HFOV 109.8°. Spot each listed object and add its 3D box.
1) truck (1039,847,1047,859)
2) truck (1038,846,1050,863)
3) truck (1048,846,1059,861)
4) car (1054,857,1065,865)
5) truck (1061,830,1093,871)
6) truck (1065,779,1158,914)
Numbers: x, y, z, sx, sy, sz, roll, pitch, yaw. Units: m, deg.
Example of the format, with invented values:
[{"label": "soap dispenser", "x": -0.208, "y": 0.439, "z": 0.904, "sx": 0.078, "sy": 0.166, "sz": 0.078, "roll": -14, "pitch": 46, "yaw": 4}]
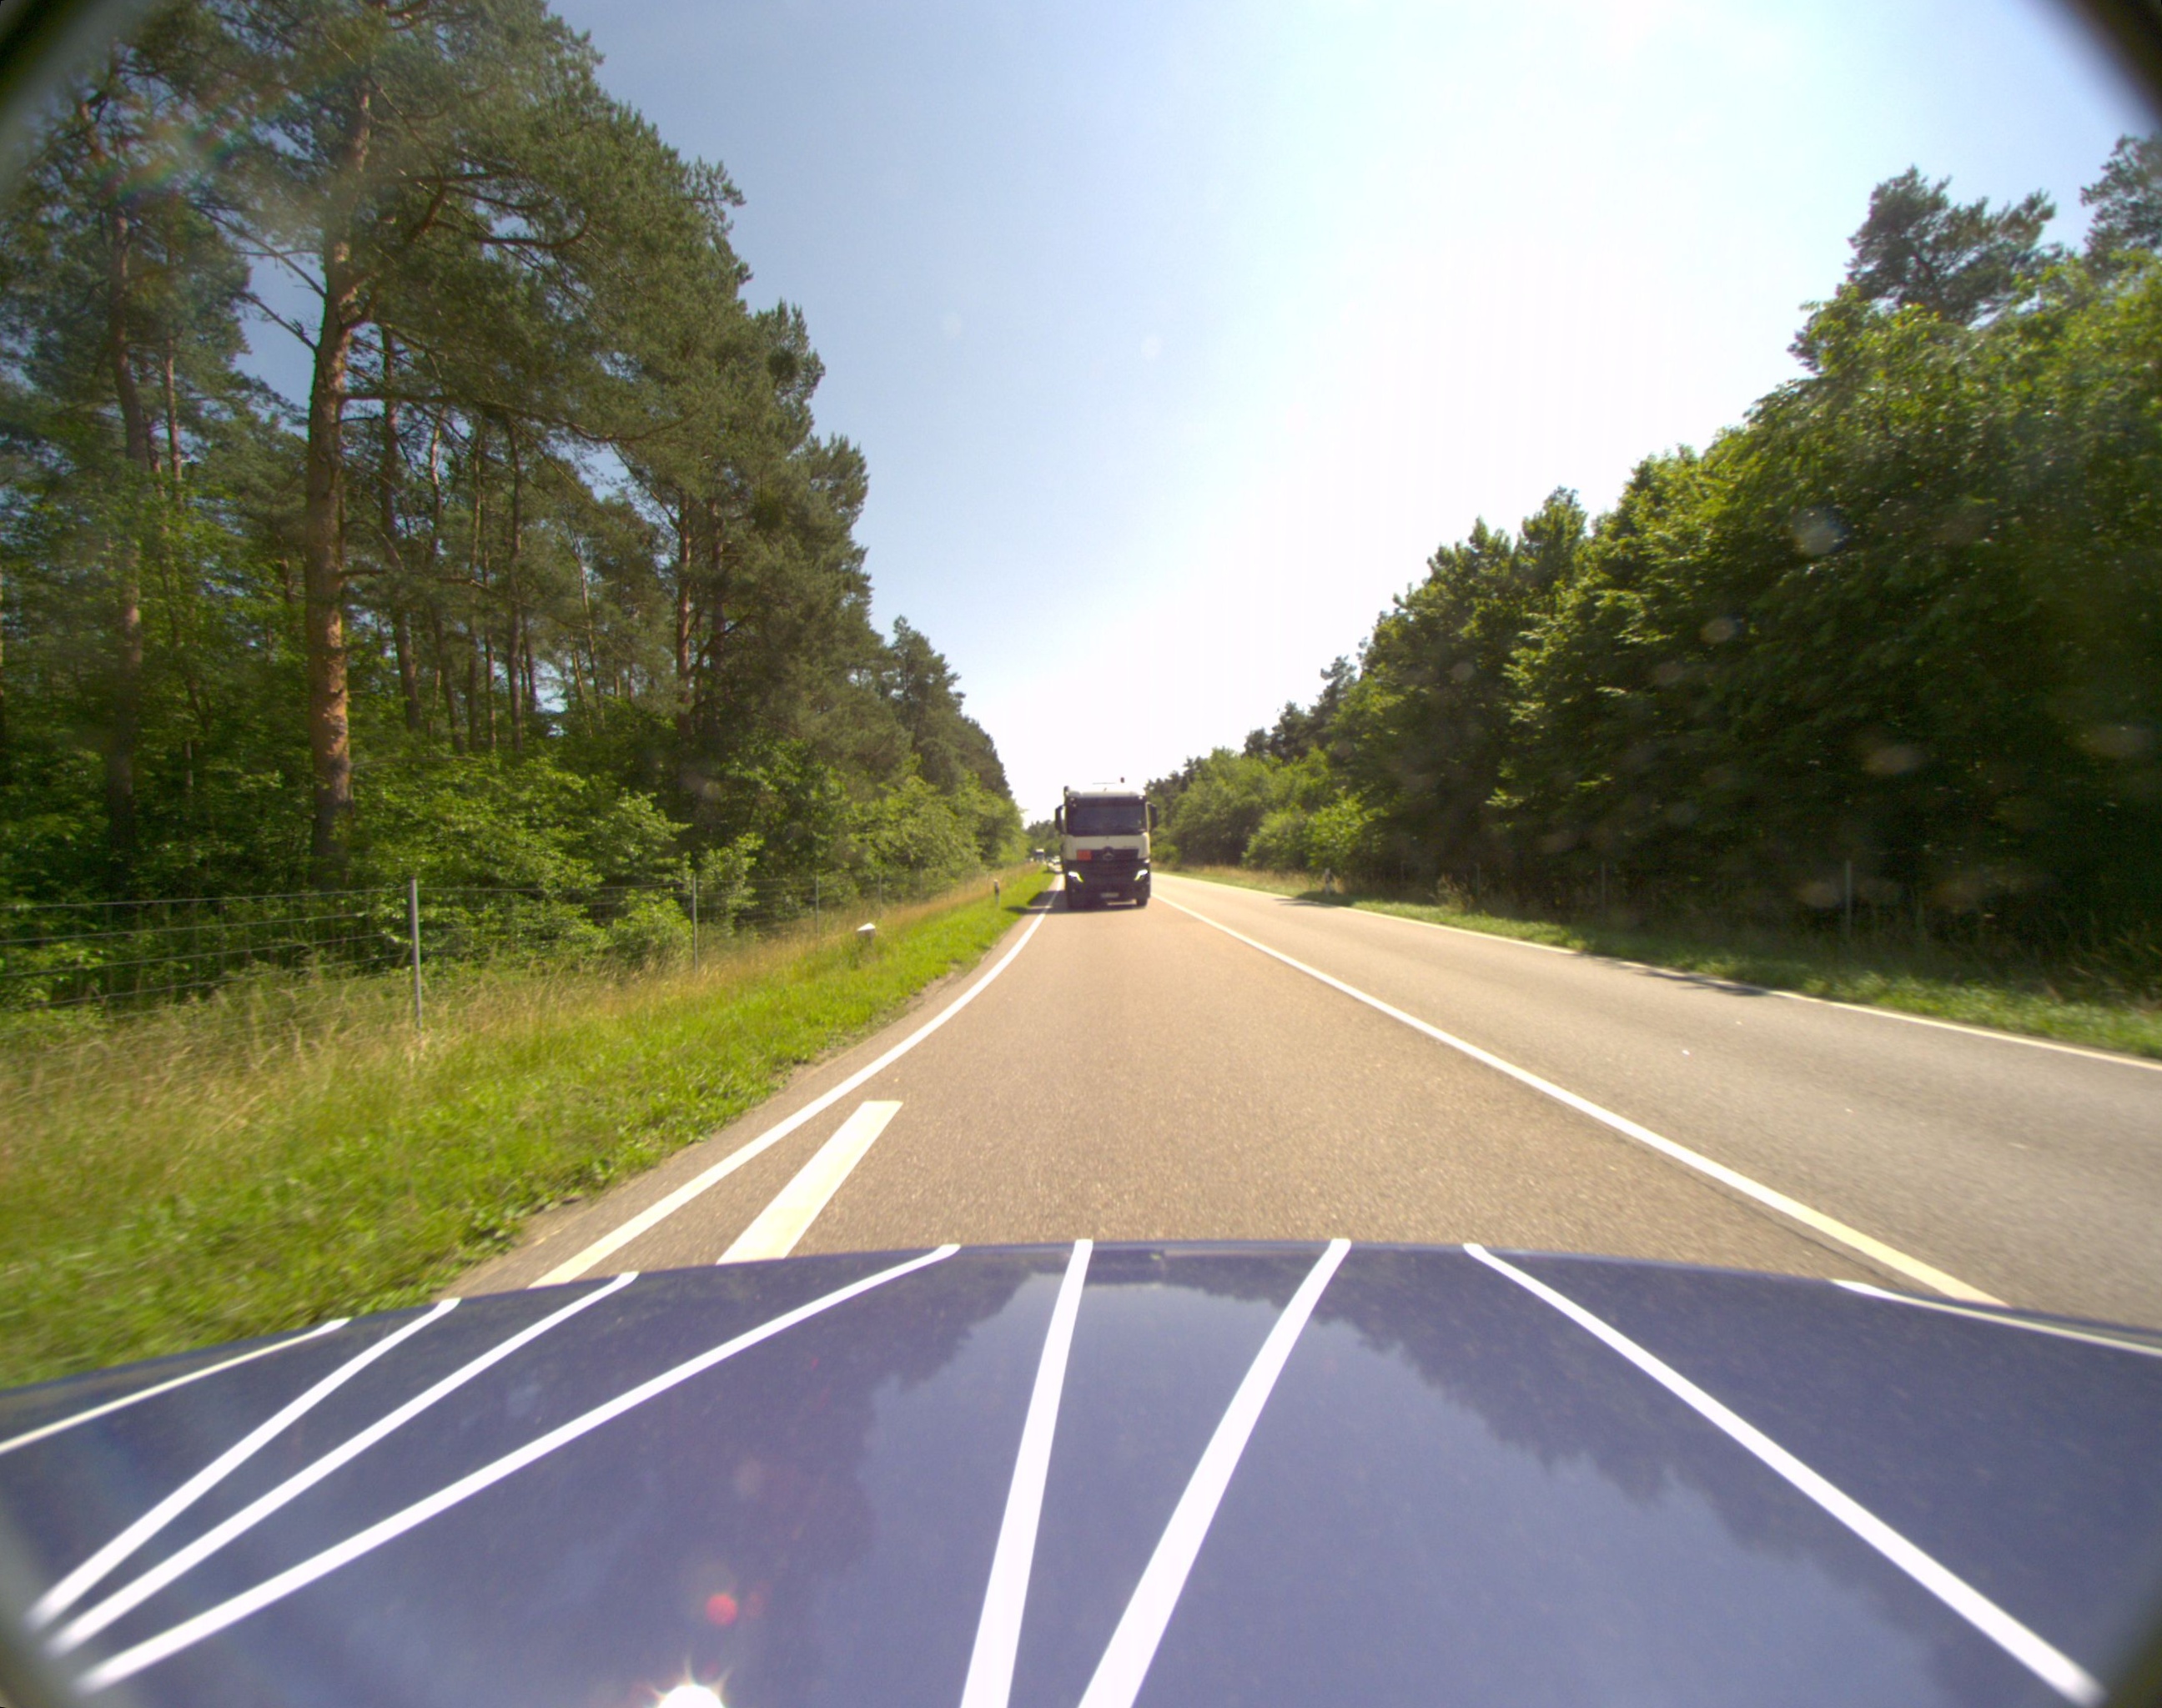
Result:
[{"label": "truck", "x": -11.757, "y": -0.163, "z": 234.277, "sx": 2.495, "sy": 3.618, "sz": 6.101, "roll": 1, "pitch": 0, "yaw": -5}, {"label": "truck", "x": -8.450, "y": 0.118, "z": 174.628, "sx": 2.495, "sy": 3.619, "sz": 6.101, "roll": -1, "pitch": 0, "yaw": -5}, {"label": "truck", "x": -6.873, "y": -0.166, "z": 190.582, "sx": 2.495, "sy": 3.619, "sz": 6.101, "roll": -1, "pitch": 0, "yaw": -5}, {"label": "car", "x": -3.997, "y": 1.217, "z": 138.480, "sx": 1.885, "sy": 1.461, "sz": 3.999, "roll": 1, "pitch": 0, "yaw": -2}, {"label": "truck", "x": -0.476, "y": -0.295, "z": 71.273, "sx": 2.495, "sy": 3.698, "sz": 6.222, "roll": 1, "pitch": 0, "yaw": -5}, {"label": "truck", "x": 0.792, "y": -0.194, "z": 24.539, "sx": 2.435, "sy": 3.672, "sz": 6.456, "roll": -3, "pitch": 0, "yaw": -2}]
